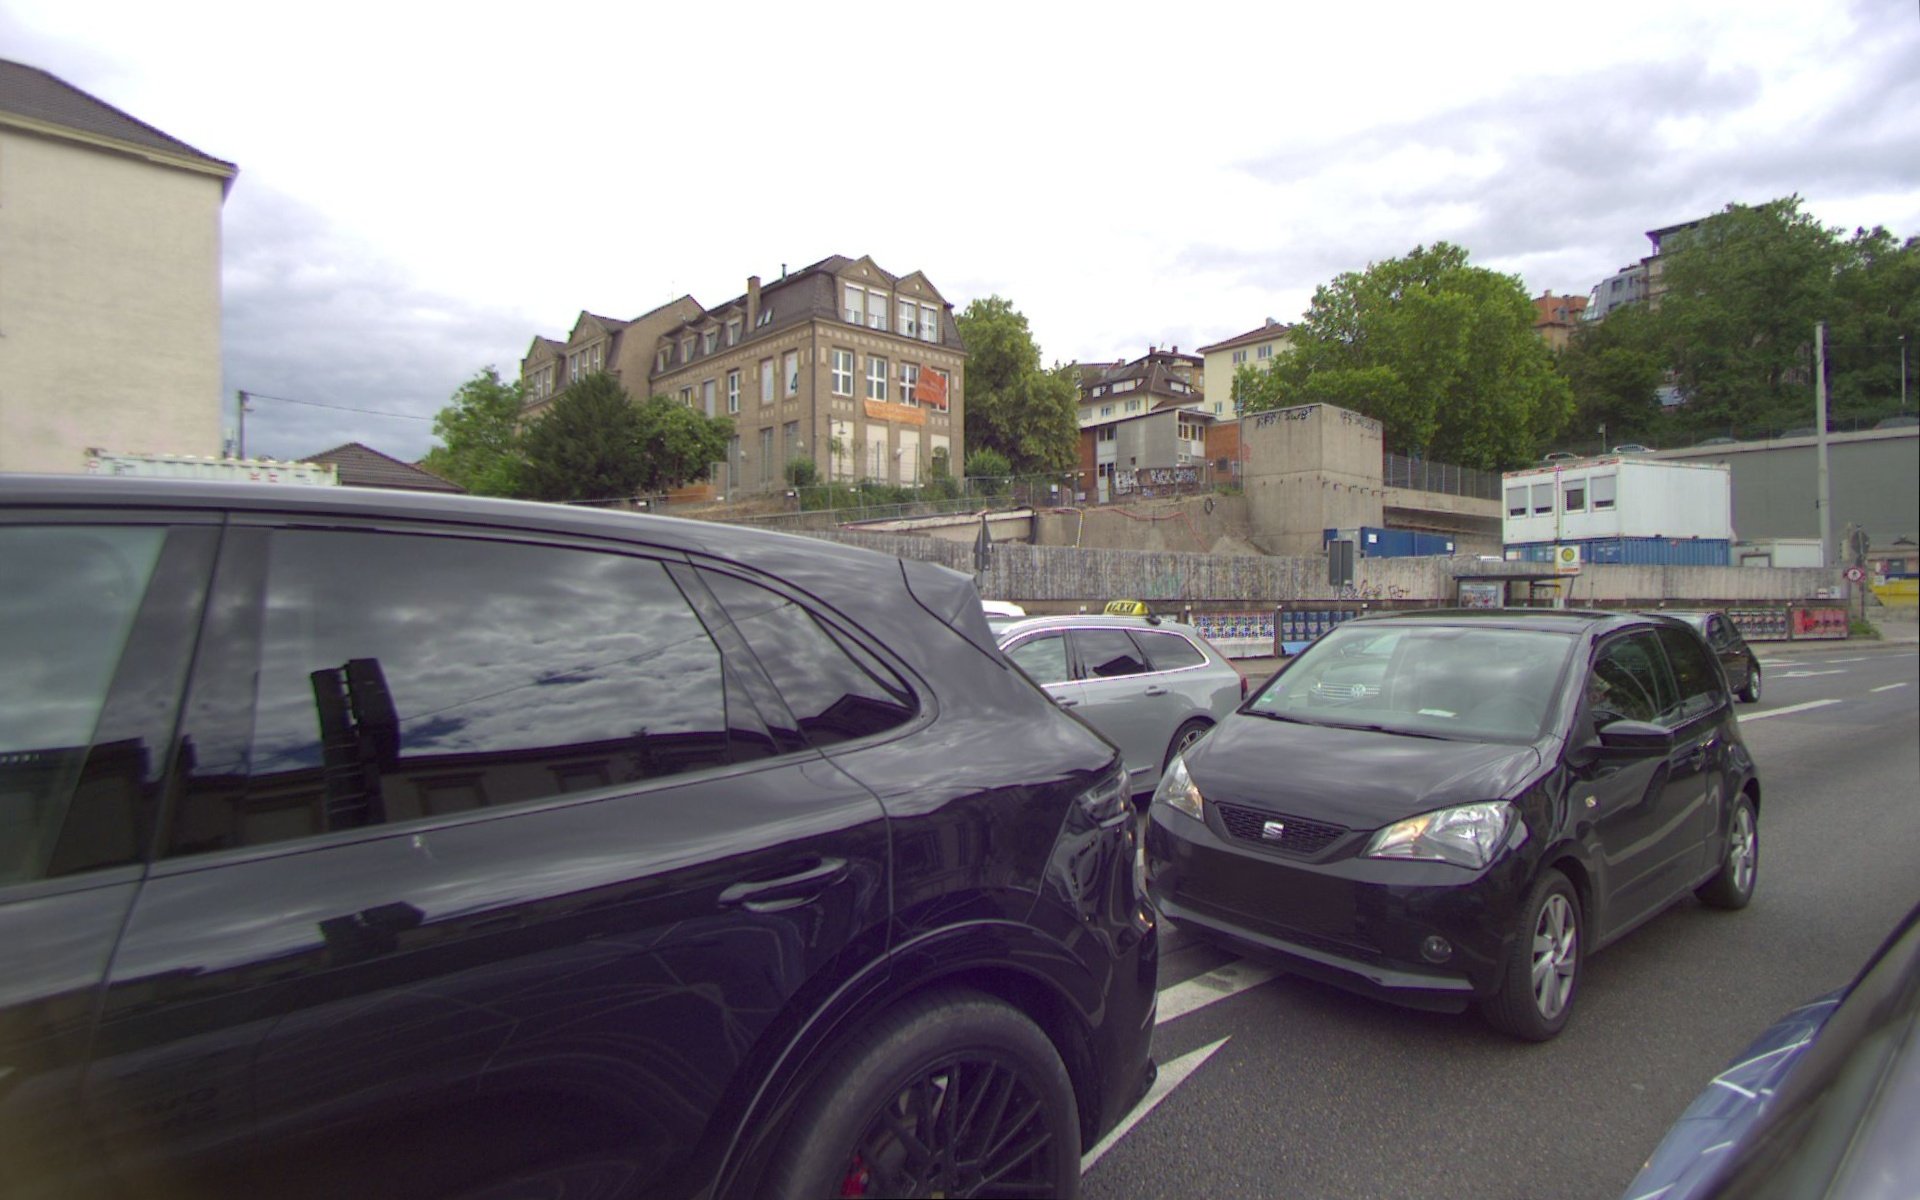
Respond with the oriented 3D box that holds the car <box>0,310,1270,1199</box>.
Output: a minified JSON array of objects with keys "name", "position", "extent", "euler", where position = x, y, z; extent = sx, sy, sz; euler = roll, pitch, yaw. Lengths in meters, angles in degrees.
[{"name":"car","position":[-1.658,0.560,1.671],"extent":[4.497,1.689,1.998],"euler":[-1,0,-39]}]

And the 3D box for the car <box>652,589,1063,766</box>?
[{"name":"car","position":[-0.940,0.637,10.607],"extent":[4.004,1.484,1.824],"euler":[-1,0,-42]}]

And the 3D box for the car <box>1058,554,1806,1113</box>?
[{"name":"car","position":[2.411,0.636,4.723],"extent":[3.841,1.575,1.661],"euler":[-1,0,-39]}]

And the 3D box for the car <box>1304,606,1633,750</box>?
[{"name":"car","position":[6.023,0.773,11.810],"extent":[4.139,1.381,1.827],"euler":[1,0,-38]}]

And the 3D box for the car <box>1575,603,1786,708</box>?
[{"name":"car","position":[11.517,0.809,16.114],"extent":[3.711,1.478,1.721],"euler":[1,-2,-38]}]

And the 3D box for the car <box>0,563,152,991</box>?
[{"name":"car","position":[-5.062,0.641,3.461],"extent":[3.581,1.529,1.826],"euler":[-1,0,-39]}]

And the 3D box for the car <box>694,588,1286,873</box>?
[{"name":"car","position":[0.399,0.662,7.344],"extent":[4.142,1.484,1.825],"euler":[-1,0,-40]}]
